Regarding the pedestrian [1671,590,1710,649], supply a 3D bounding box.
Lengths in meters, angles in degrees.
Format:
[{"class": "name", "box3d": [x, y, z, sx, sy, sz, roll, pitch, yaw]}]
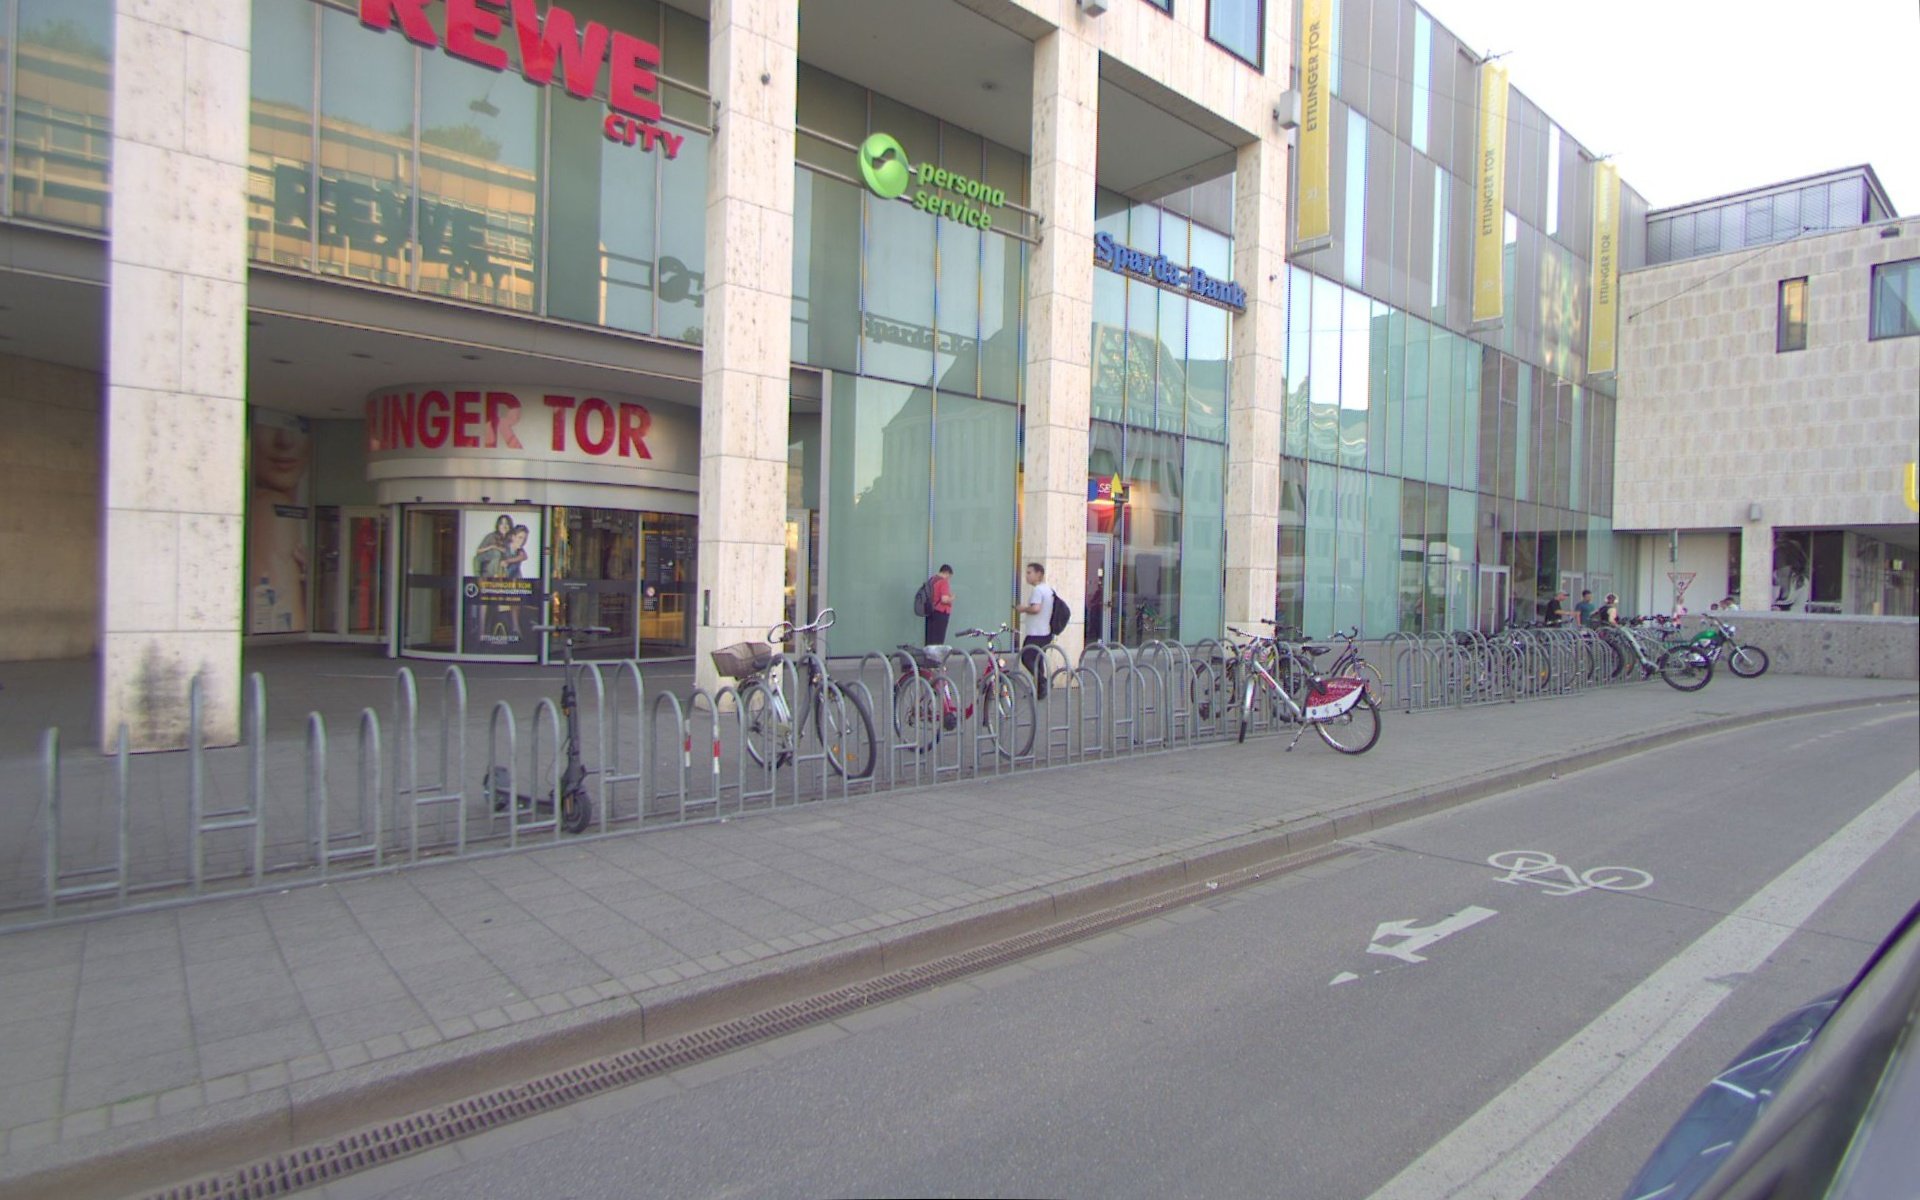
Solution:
[{"class": "pedestrian", "box3d": [22.382, 0.590, 31.005, 0.644, 1.765, 0.794, 1, 1, -38]}]

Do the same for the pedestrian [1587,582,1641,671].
[{"class": "pedestrian", "box3d": [12.580, 0.491, 19.486, 0.802, 1.663, 0.640, 2, 1, 31]}]

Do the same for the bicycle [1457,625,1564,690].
[{"class": "bicycle", "box3d": [8.455, 0.863, 15.582, 0.509, 0.944, 1.344, 1, -2, -41]}]

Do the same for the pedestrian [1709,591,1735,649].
[{"class": "pedestrian", "box3d": [23.782, 0.614, 31.585, 0.539, 1.765, 0.494, 1, 1, -38]}]

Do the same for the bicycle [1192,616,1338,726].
[{"class": "bicycle", "box3d": [3.379, 0.752, 11.307, 0.569, 1.138, 1.519, 1, -2, -36]}]

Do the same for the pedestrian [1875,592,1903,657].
[{"class": "pedestrian", "box3d": [25.540, 0.667, 27.831, 0.483, 1.765, 0.455, 1, 1, -38]}]

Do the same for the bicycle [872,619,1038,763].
[{"class": "bicycle", "box3d": [-0.075, 0.724, 8.666, 0.543, 1.120, 1.516, 1, -2, -43]}]

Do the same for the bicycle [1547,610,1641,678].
[{"class": "bicycle", "box3d": [11.394, 0.777, 18.216, 0.509, 1.179, 1.344, 1, -2, -41]}]

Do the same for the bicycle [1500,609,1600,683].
[{"class": "bicycle", "box3d": [9.831, 0.745, 16.892, 0.509, 1.179, 1.344, 1, -2, -41]}]

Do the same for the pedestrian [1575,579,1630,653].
[{"class": "pedestrian", "box3d": [15.184, 0.365, 23.927, 0.803, 1.717, 0.700, 1, 1, -11]}]

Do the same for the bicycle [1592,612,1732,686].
[{"class": "bicycle", "box3d": [11.566, 0.781, 16.741, 0.458, 1.161, 1.837, 1, -2, -39]}]

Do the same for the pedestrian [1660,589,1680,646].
[{"class": "pedestrian", "box3d": [22.259, 0.548, 31.735, 0.444, 1.765, 0.364, 1, 1, -38]}]

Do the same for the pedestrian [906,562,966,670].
[{"class": "pedestrian", "box3d": [-0.389, 0.246, 16.229, 0.695, 1.672, 0.629, 1, 1, -40]}]

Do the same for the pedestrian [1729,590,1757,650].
[{"class": "pedestrian", "box3d": [23.495, 0.588, 30.379, 0.644, 1.765, 0.494, 1, 1, -38]}]

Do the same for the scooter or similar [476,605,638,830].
[{"class": "scooter or similar", "box3d": [-2.519, 0.663, 6.272, 0.484, 1.214, 1.194, 1, 1, -44]}]

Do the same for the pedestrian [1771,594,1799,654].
[{"class": "pedestrian", "box3d": [24.803, 0.704, 30.425, 0.483, 1.765, 0.504, 1, 1, -38]}]

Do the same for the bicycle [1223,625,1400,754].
[{"class": "bicycle", "box3d": [3.171, 0.770, 9.244, 0.458, 1.077, 1.518, 1, -2, -39]}]

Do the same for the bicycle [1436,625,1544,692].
[{"class": "bicycle", "box3d": [7.945, 0.851, 15.203, 0.509, 0.944, 1.344, 1, -2, -41]}]

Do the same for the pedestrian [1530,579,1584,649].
[{"class": "pedestrian", "box3d": [14.476, 0.329, 24.559, 0.803, 1.668, 0.742, 1, 1, -11]}]

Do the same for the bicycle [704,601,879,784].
[{"class": "bicycle", "box3d": [-1.307, 0.637, 7.663, 0.607, 1.243, 1.517, 1, -2, -41]}]

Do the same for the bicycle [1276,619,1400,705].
[{"class": "bicycle", "box3d": [5.012, 0.790, 13.446, 1.439, 1.078, 0.572, -1, -2, 39]}]

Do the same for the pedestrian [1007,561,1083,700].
[{"class": "pedestrian", "box3d": [1.083, 0.364, 12.928, 0.618, 1.713, 0.707, 1, 1, -41]}]

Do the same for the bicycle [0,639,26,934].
[{"class": "bicycle", "box3d": [-4.555, 0.744, 4.474, 1.768, 1.092, 0.475, 3, 1, 43]}]

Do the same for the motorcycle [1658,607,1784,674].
[{"class": "motorcycle", "box3d": [15.579, 0.797, 20.762, 0.472, 1.239, 2.004, 1, 1, -43]}]
